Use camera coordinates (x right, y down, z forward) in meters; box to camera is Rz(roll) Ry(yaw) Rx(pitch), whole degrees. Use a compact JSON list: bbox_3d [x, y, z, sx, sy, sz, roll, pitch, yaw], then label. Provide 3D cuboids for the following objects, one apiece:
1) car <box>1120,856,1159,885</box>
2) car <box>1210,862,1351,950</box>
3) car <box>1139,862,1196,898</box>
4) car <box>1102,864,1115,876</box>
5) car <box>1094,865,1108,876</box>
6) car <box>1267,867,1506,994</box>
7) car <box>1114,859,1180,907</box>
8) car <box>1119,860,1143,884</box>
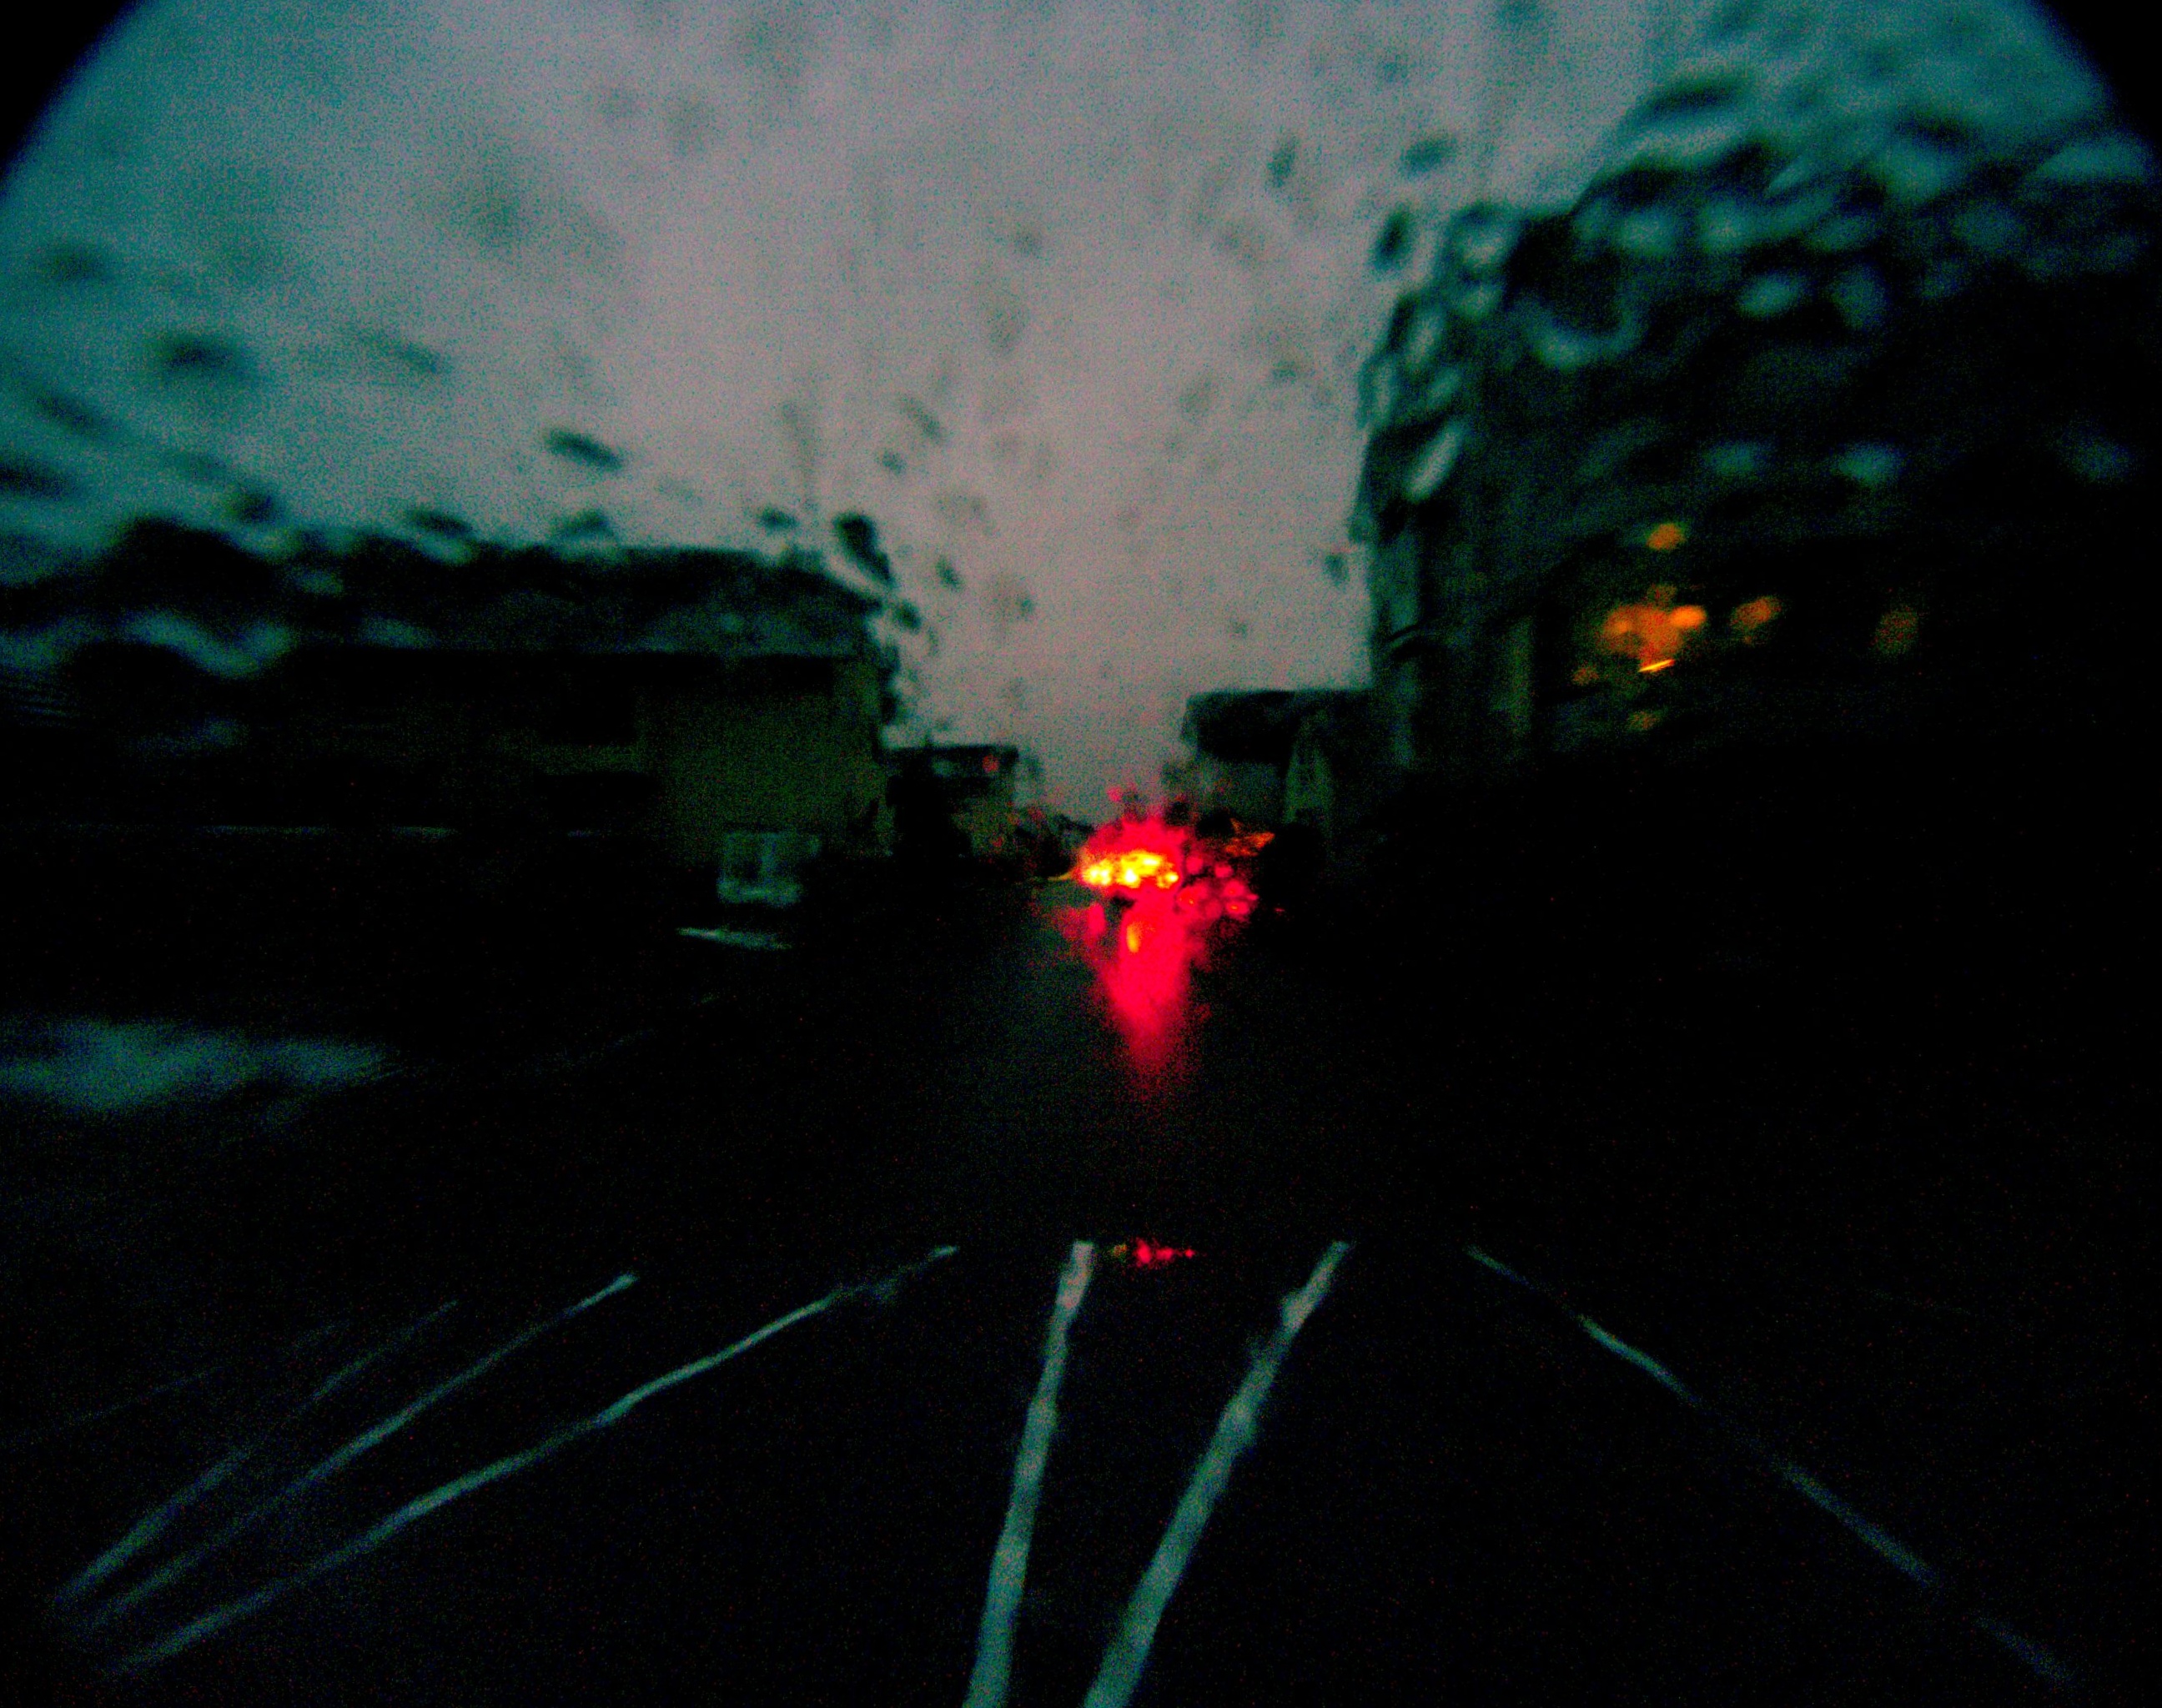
[{"bbox_3d":[3.346,0.942,44.449,1.923,1.614,4.423,1,0,0],"label":"car"},{"bbox_3d":[3.726,0.915,14.828,1.669,1.409,3.690,-2,0,-2],"label":"car"},{"bbox_3d":[3.558,1.040,32.058,1.738,1.435,4.439,0,0,-2],"label":"car"},{"bbox_3d":[4.550,2.615,124.834,1.794,1.763,3.891,1,0,6],"label":"car"},{"bbox_3d":[2.801,2.263,104.938,1.756,1.486,4.251,1,0,4],"label":"car"},{"bbox_3d":[3.967,0.900,10.609,1.672,1.401,3.913,-1,-1,-2],"label":"car"},{"bbox_3d":[2.137,0.921,25.778,1.778,1.486,4.380,1,0,-1],"label":"car"},{"bbox_3d":[3.822,1.375,58.745,1.775,1.781,4.130,1,-1,3],"label":"car"}]
